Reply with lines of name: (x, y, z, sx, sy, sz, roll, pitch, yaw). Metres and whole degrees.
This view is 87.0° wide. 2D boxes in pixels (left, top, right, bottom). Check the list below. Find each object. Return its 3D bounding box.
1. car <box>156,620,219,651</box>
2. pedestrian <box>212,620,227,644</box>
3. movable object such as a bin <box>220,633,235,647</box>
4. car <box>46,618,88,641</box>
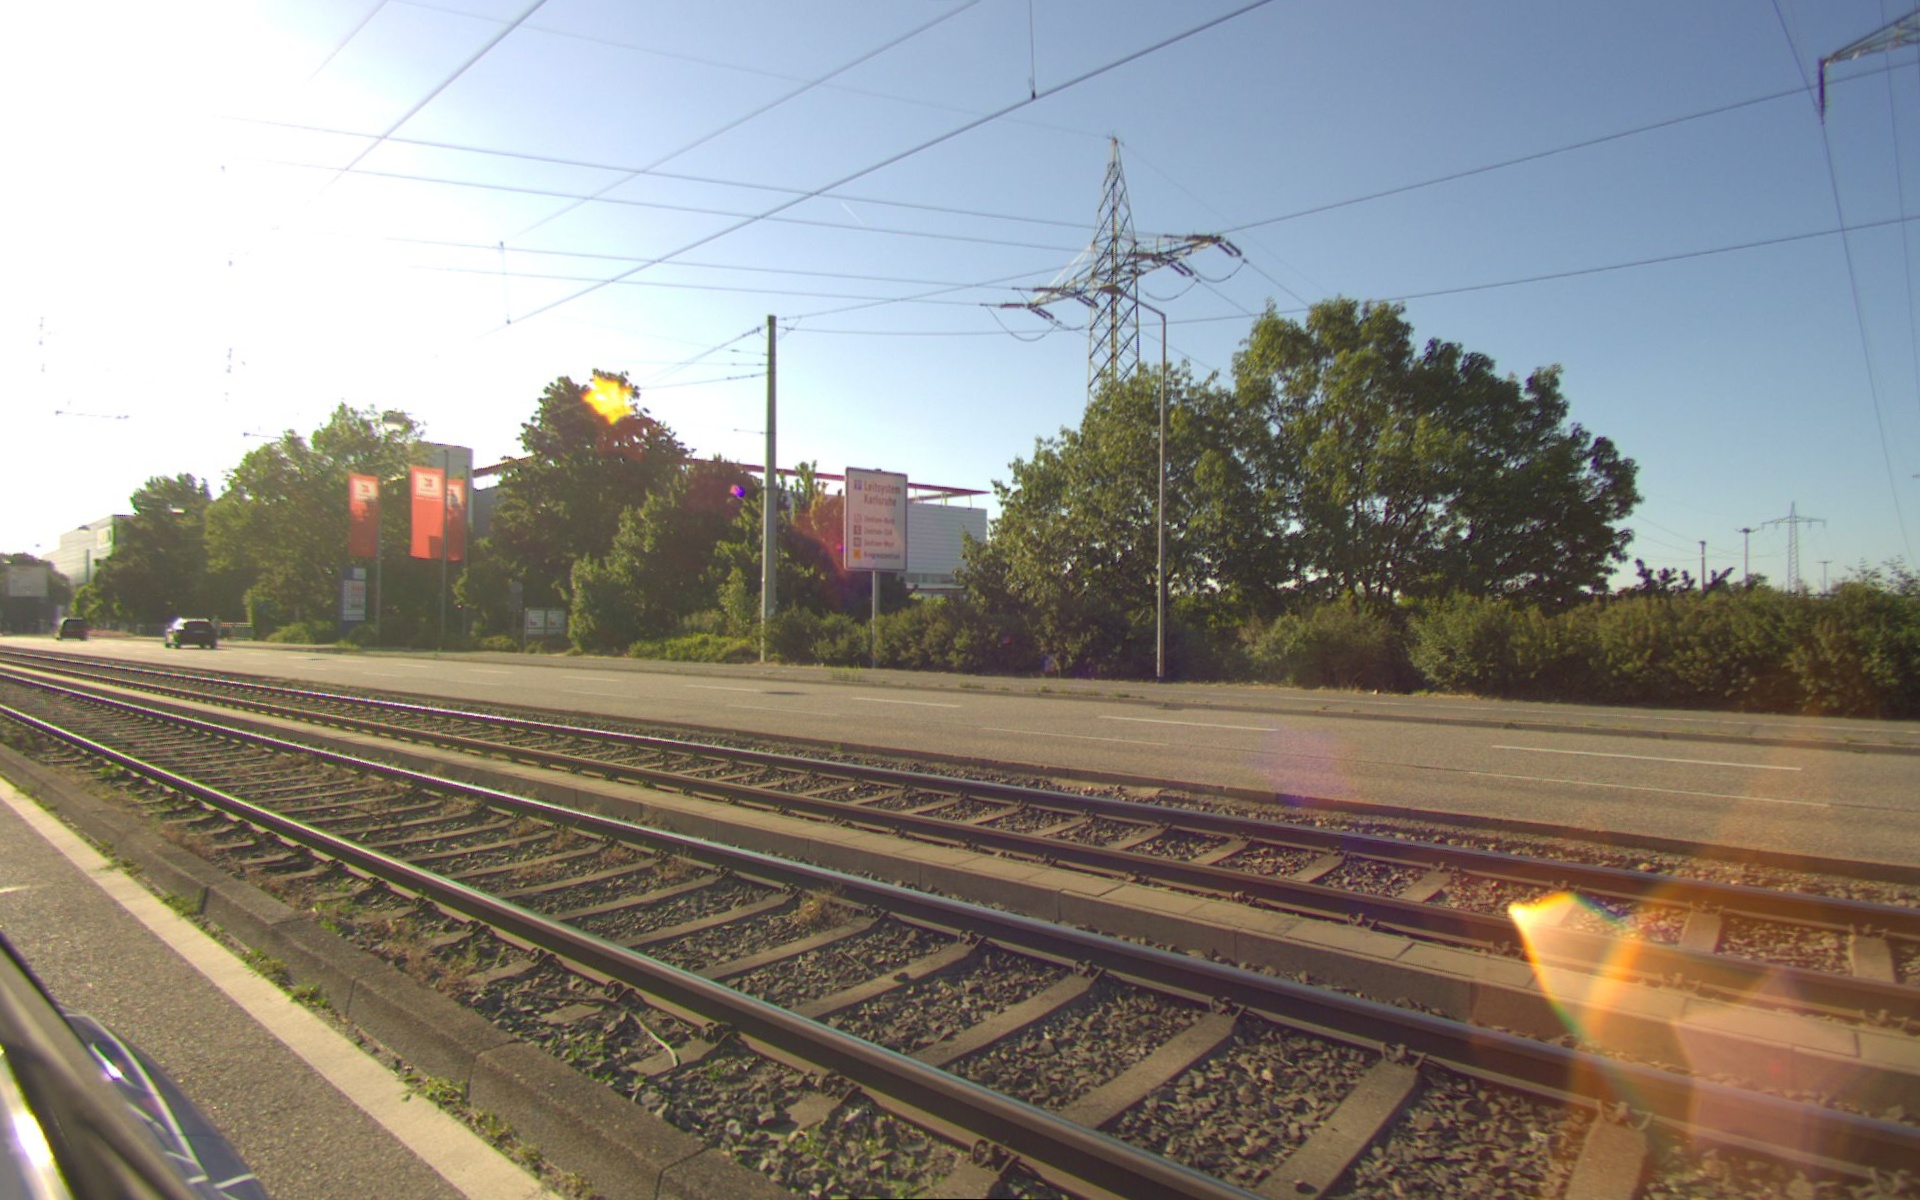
car: (-43.534, 1.988, 56.995, 4.682, 1.637, 1.972, 0, -2, 42)
pedestrian: (-52.297, 2.267, 71.487, 1.083, 1.660, 0.606, 0, 1, 41)
movable object such as a bin: (-50.575, 2.754, 69.864, 1.083, 0.972, 0.606, 0, 1, 41)
car: (-72.645, 2.378, 82.345, 4.348, 1.809, 1.973, 0, -2, 41)
